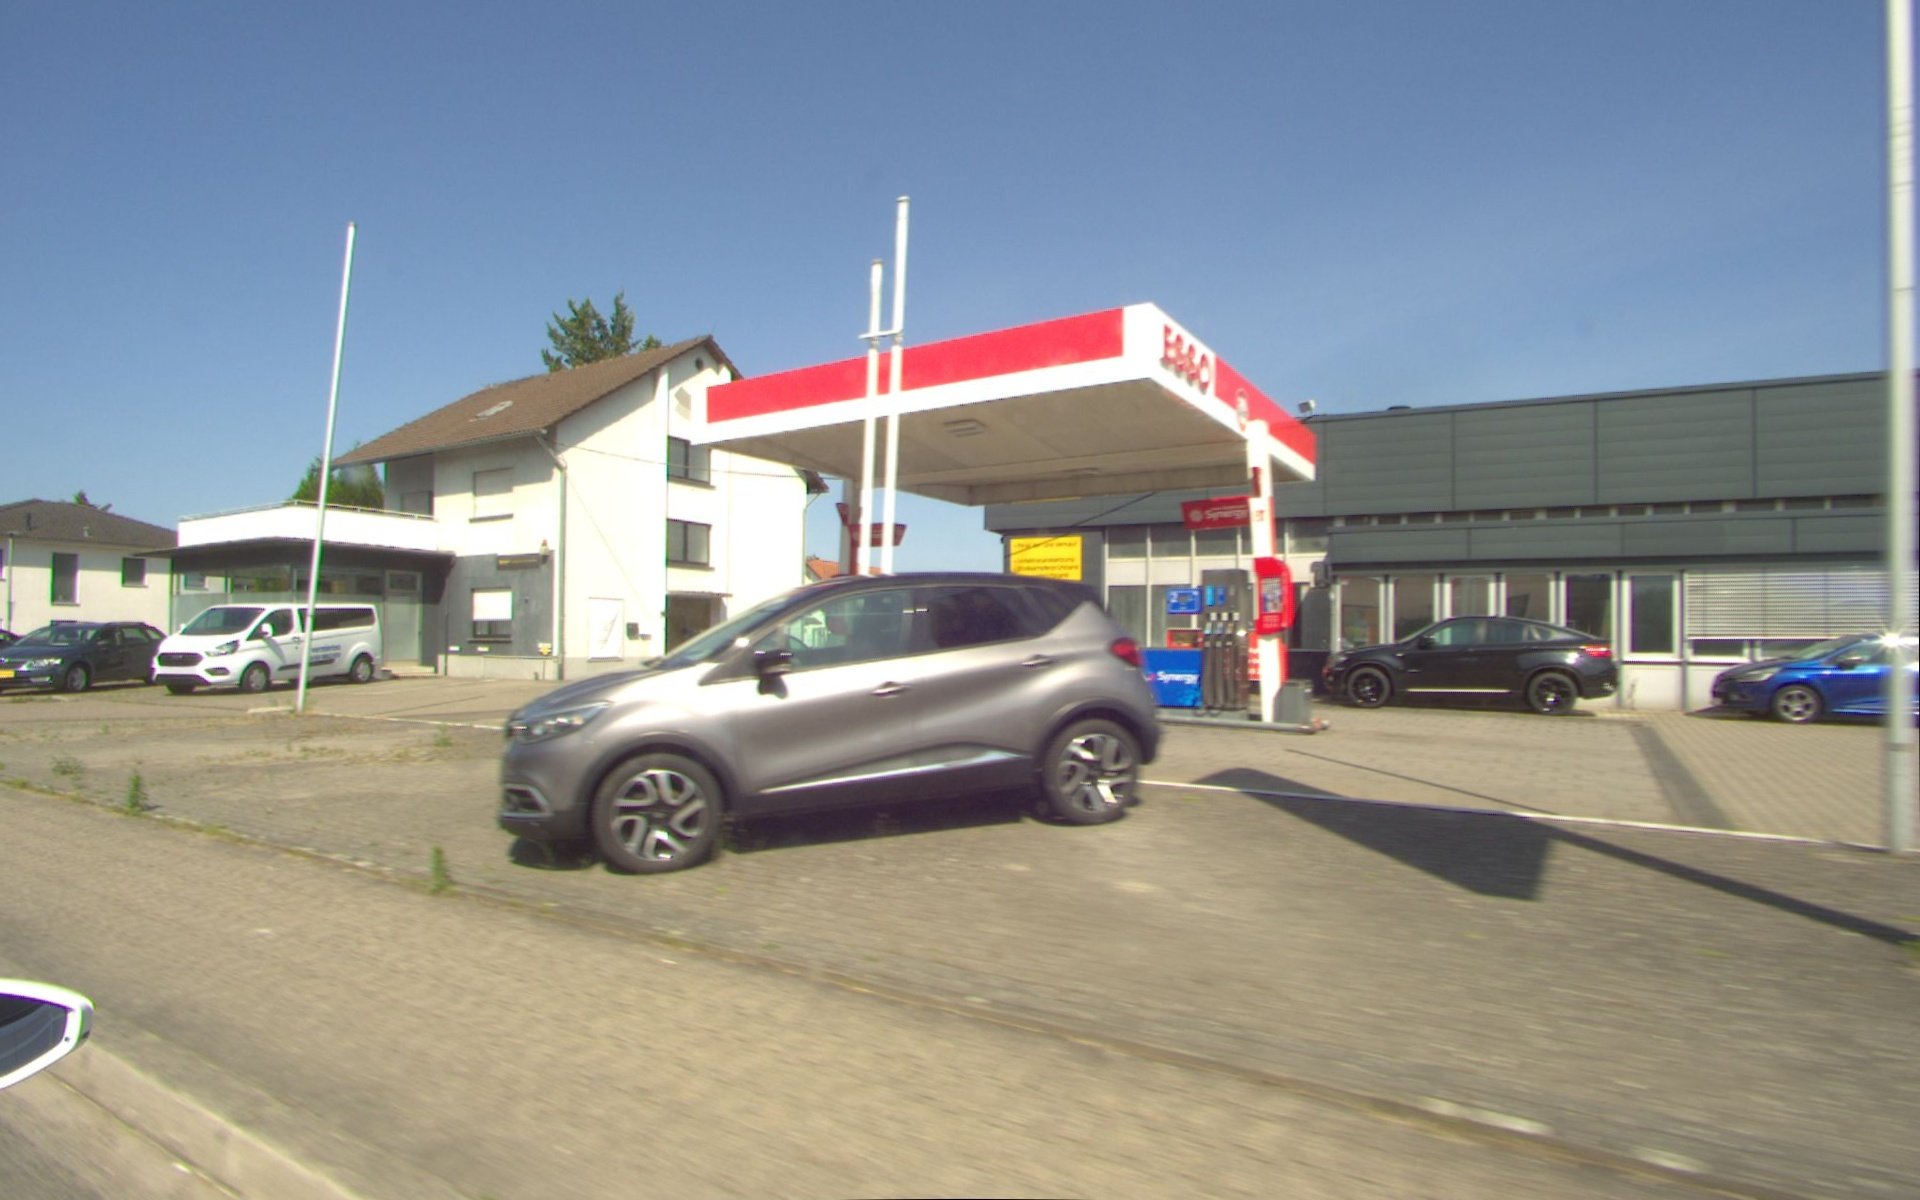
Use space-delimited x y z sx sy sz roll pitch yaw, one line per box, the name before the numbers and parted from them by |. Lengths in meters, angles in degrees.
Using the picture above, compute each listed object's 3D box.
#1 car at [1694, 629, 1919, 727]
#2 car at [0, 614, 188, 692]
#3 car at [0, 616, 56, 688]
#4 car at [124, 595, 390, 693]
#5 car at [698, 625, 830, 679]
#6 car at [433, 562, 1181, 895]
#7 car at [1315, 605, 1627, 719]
car | 14.322 1.199 15.838 4.059 1.450 1.794 -1 -2 24
car | -19.457 1.124 22.135 1.947 1.570 4.316 0 -2 -9
car | -21.911 1.120 21.367 1.947 1.585 4.237 0 -2 -11
car | -16.271 0.999 23.661 2.188 2.039 5.288 0 -2 6
car | -5.872 1.553 30.419 1.784 1.498 4.059 -1 -2 29
car | -0.869 0.605 6.316 4.111 1.575 1.770 -1 -1 -21
car | 8.942 1.051 17.959 4.736 1.763 1.806 1 -2 23
